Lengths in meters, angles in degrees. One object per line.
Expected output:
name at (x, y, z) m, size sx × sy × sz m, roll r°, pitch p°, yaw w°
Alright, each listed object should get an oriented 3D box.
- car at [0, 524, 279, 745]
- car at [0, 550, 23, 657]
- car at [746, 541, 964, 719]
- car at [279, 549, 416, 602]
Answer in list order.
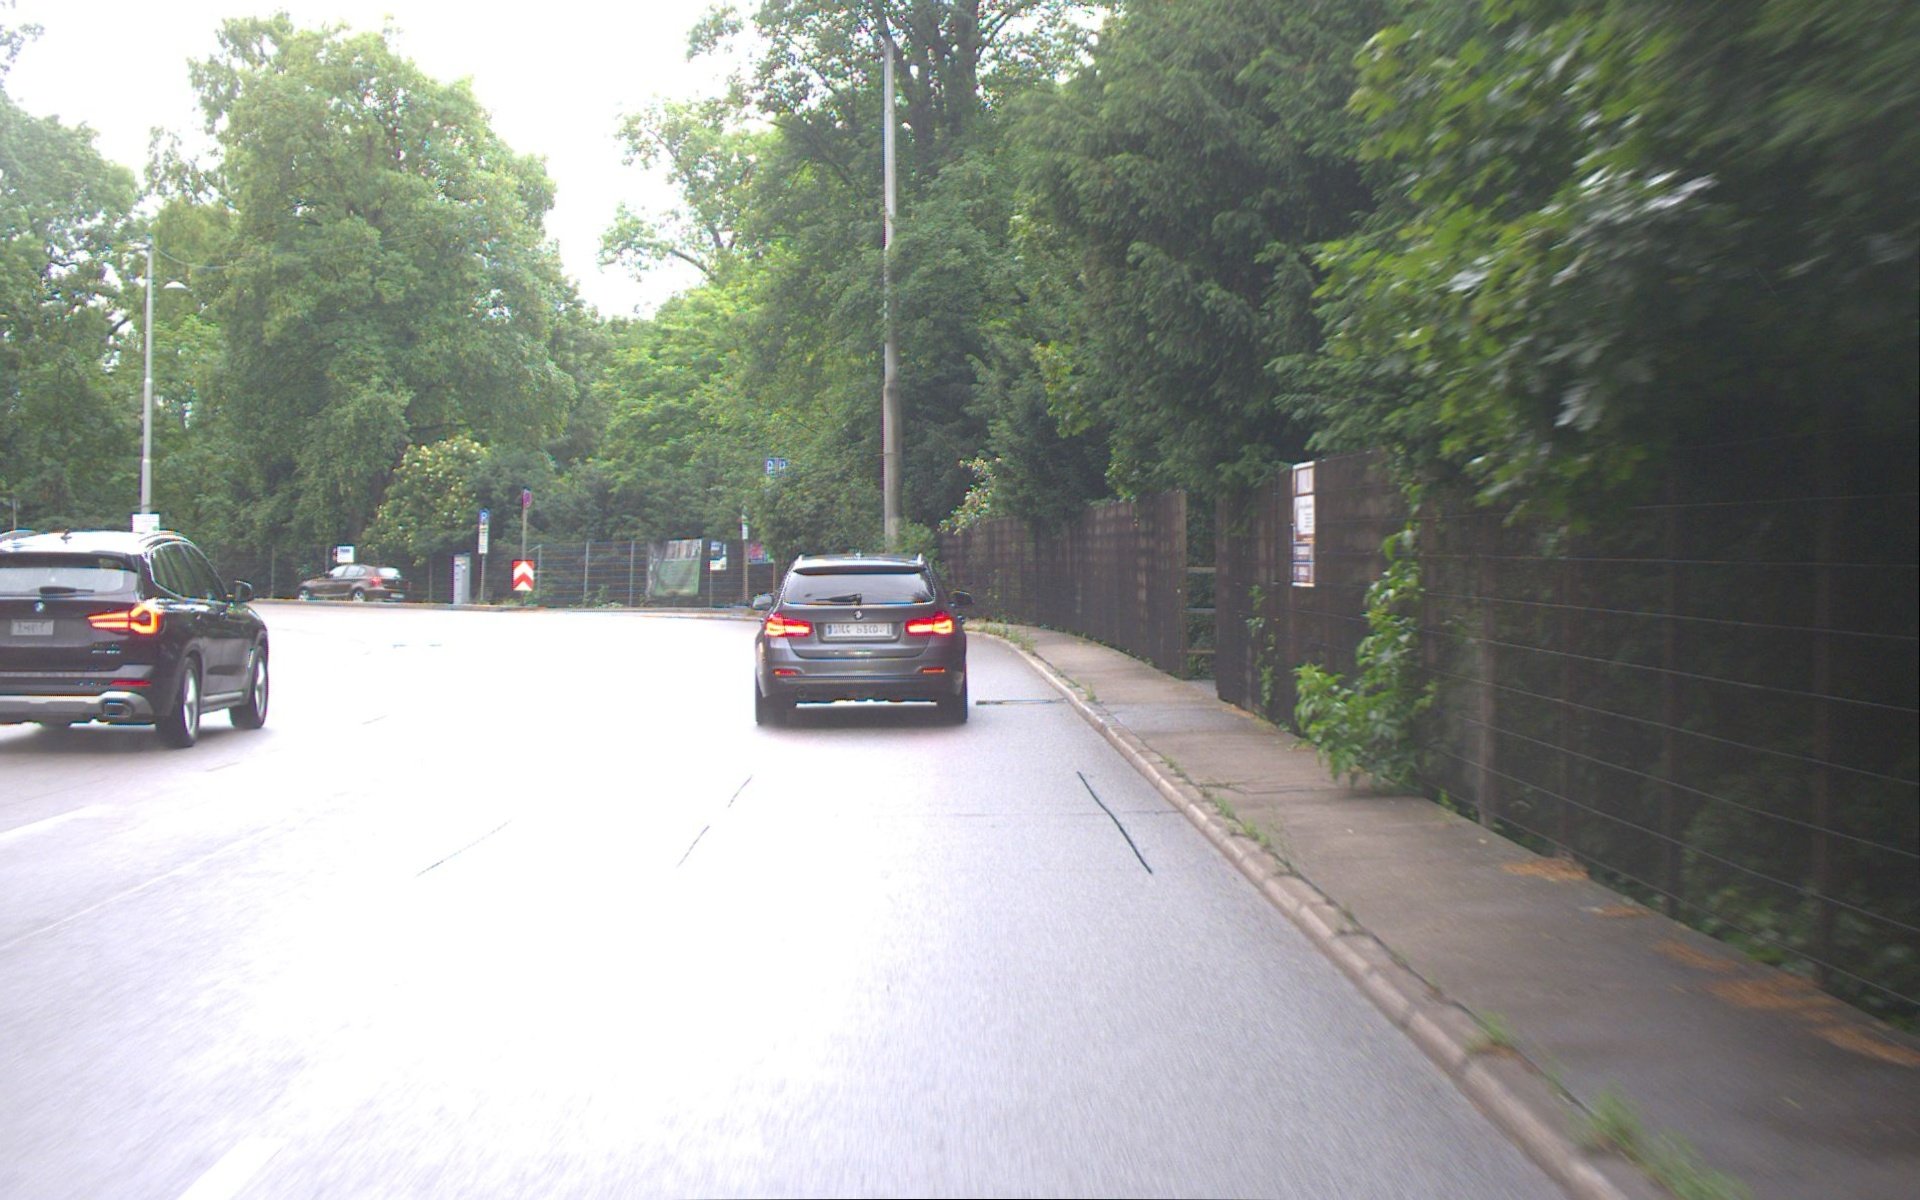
car at (-6.654, 0.213, 27.228) m, size 1.757 × 1.580 × 4.413 m, roll 2°, pitch 1°, yaw -2°
car at (-13.378, 0.057, 44.326) m, size 1.580 × 1.409 × 3.962 m, roll 0°, pitch 1°, yaw -1°
car at (-0.930, 0.213, 30.307) m, size 1.757 × 1.427 × 4.413 m, roll 1°, pitch 1°, yaw -2°
car at (-18.572, -0.743, 104.143) m, size 4.367 × 1.422 × 1.688 m, roll 2°, pitch -2°, yaw 42°
